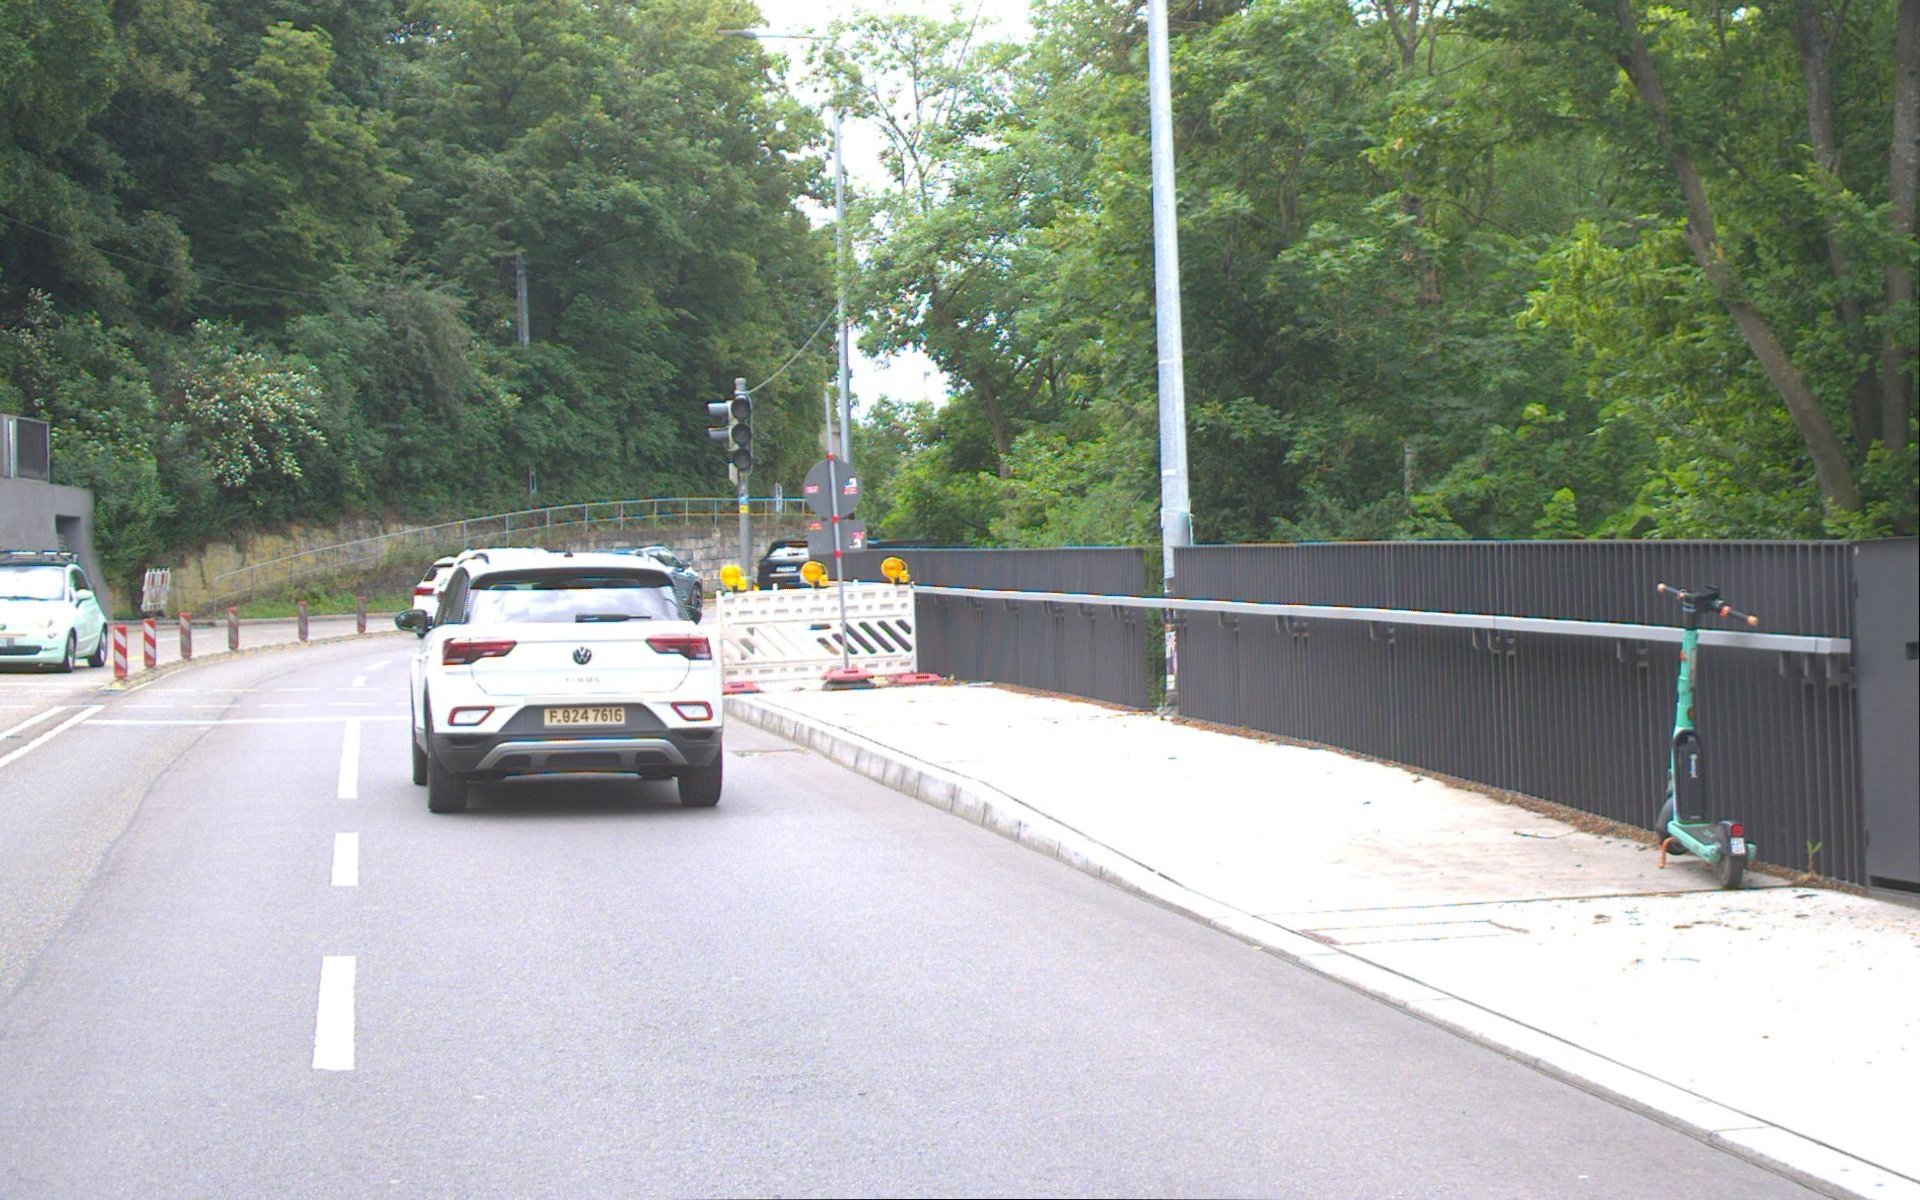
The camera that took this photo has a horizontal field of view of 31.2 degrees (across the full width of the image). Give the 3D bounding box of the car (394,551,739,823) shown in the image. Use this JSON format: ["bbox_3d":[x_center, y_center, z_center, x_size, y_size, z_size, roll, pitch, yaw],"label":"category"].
[{"bbox_3d":[-2.572,0.468,21.754,1.866,1.531,3.805,0,1,-11],"label":"car"}]

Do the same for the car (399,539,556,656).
[{"bbox_3d":[-6.850,-0.043,49.174,1.993,1.581,4.001,1,0,-5],"label":"car"}]

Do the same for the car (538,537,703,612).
[{"bbox_3d":[-7.191,-0.534,73.196,1.995,1.535,4.006,1,0,19],"label":"car"}]

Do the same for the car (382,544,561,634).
[{"bbox_3d":[-8.949,-0.202,63.257,1.907,1.568,3.997,1,0,13],"label":"car"}]

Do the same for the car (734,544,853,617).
[{"bbox_3d":[-3.984,-0.455,82.811,1.816,1.684,3.998,1,0,13],"label":"car"}]

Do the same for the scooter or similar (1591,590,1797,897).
[{"bbox_3d":[3.162,0.594,14.885,0.534,1.222,1.206,-2,2,-3],"label":"scooter or similar"}]

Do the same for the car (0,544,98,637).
[{"bbox_3d":[-15.658,-0.176,56.825,1.711,1.461,3.660,1,1,3],"label":"car"}]

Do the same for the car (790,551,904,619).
[{"bbox_3d":[-2.864,-0.383,88.135,1.817,1.684,3.997,1,0,15],"label":"car"}]

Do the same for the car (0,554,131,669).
[{"bbox_3d":[-12.536,0.129,46.749,1.711,1.461,3.661,1,1,-1],"label":"car"}]
